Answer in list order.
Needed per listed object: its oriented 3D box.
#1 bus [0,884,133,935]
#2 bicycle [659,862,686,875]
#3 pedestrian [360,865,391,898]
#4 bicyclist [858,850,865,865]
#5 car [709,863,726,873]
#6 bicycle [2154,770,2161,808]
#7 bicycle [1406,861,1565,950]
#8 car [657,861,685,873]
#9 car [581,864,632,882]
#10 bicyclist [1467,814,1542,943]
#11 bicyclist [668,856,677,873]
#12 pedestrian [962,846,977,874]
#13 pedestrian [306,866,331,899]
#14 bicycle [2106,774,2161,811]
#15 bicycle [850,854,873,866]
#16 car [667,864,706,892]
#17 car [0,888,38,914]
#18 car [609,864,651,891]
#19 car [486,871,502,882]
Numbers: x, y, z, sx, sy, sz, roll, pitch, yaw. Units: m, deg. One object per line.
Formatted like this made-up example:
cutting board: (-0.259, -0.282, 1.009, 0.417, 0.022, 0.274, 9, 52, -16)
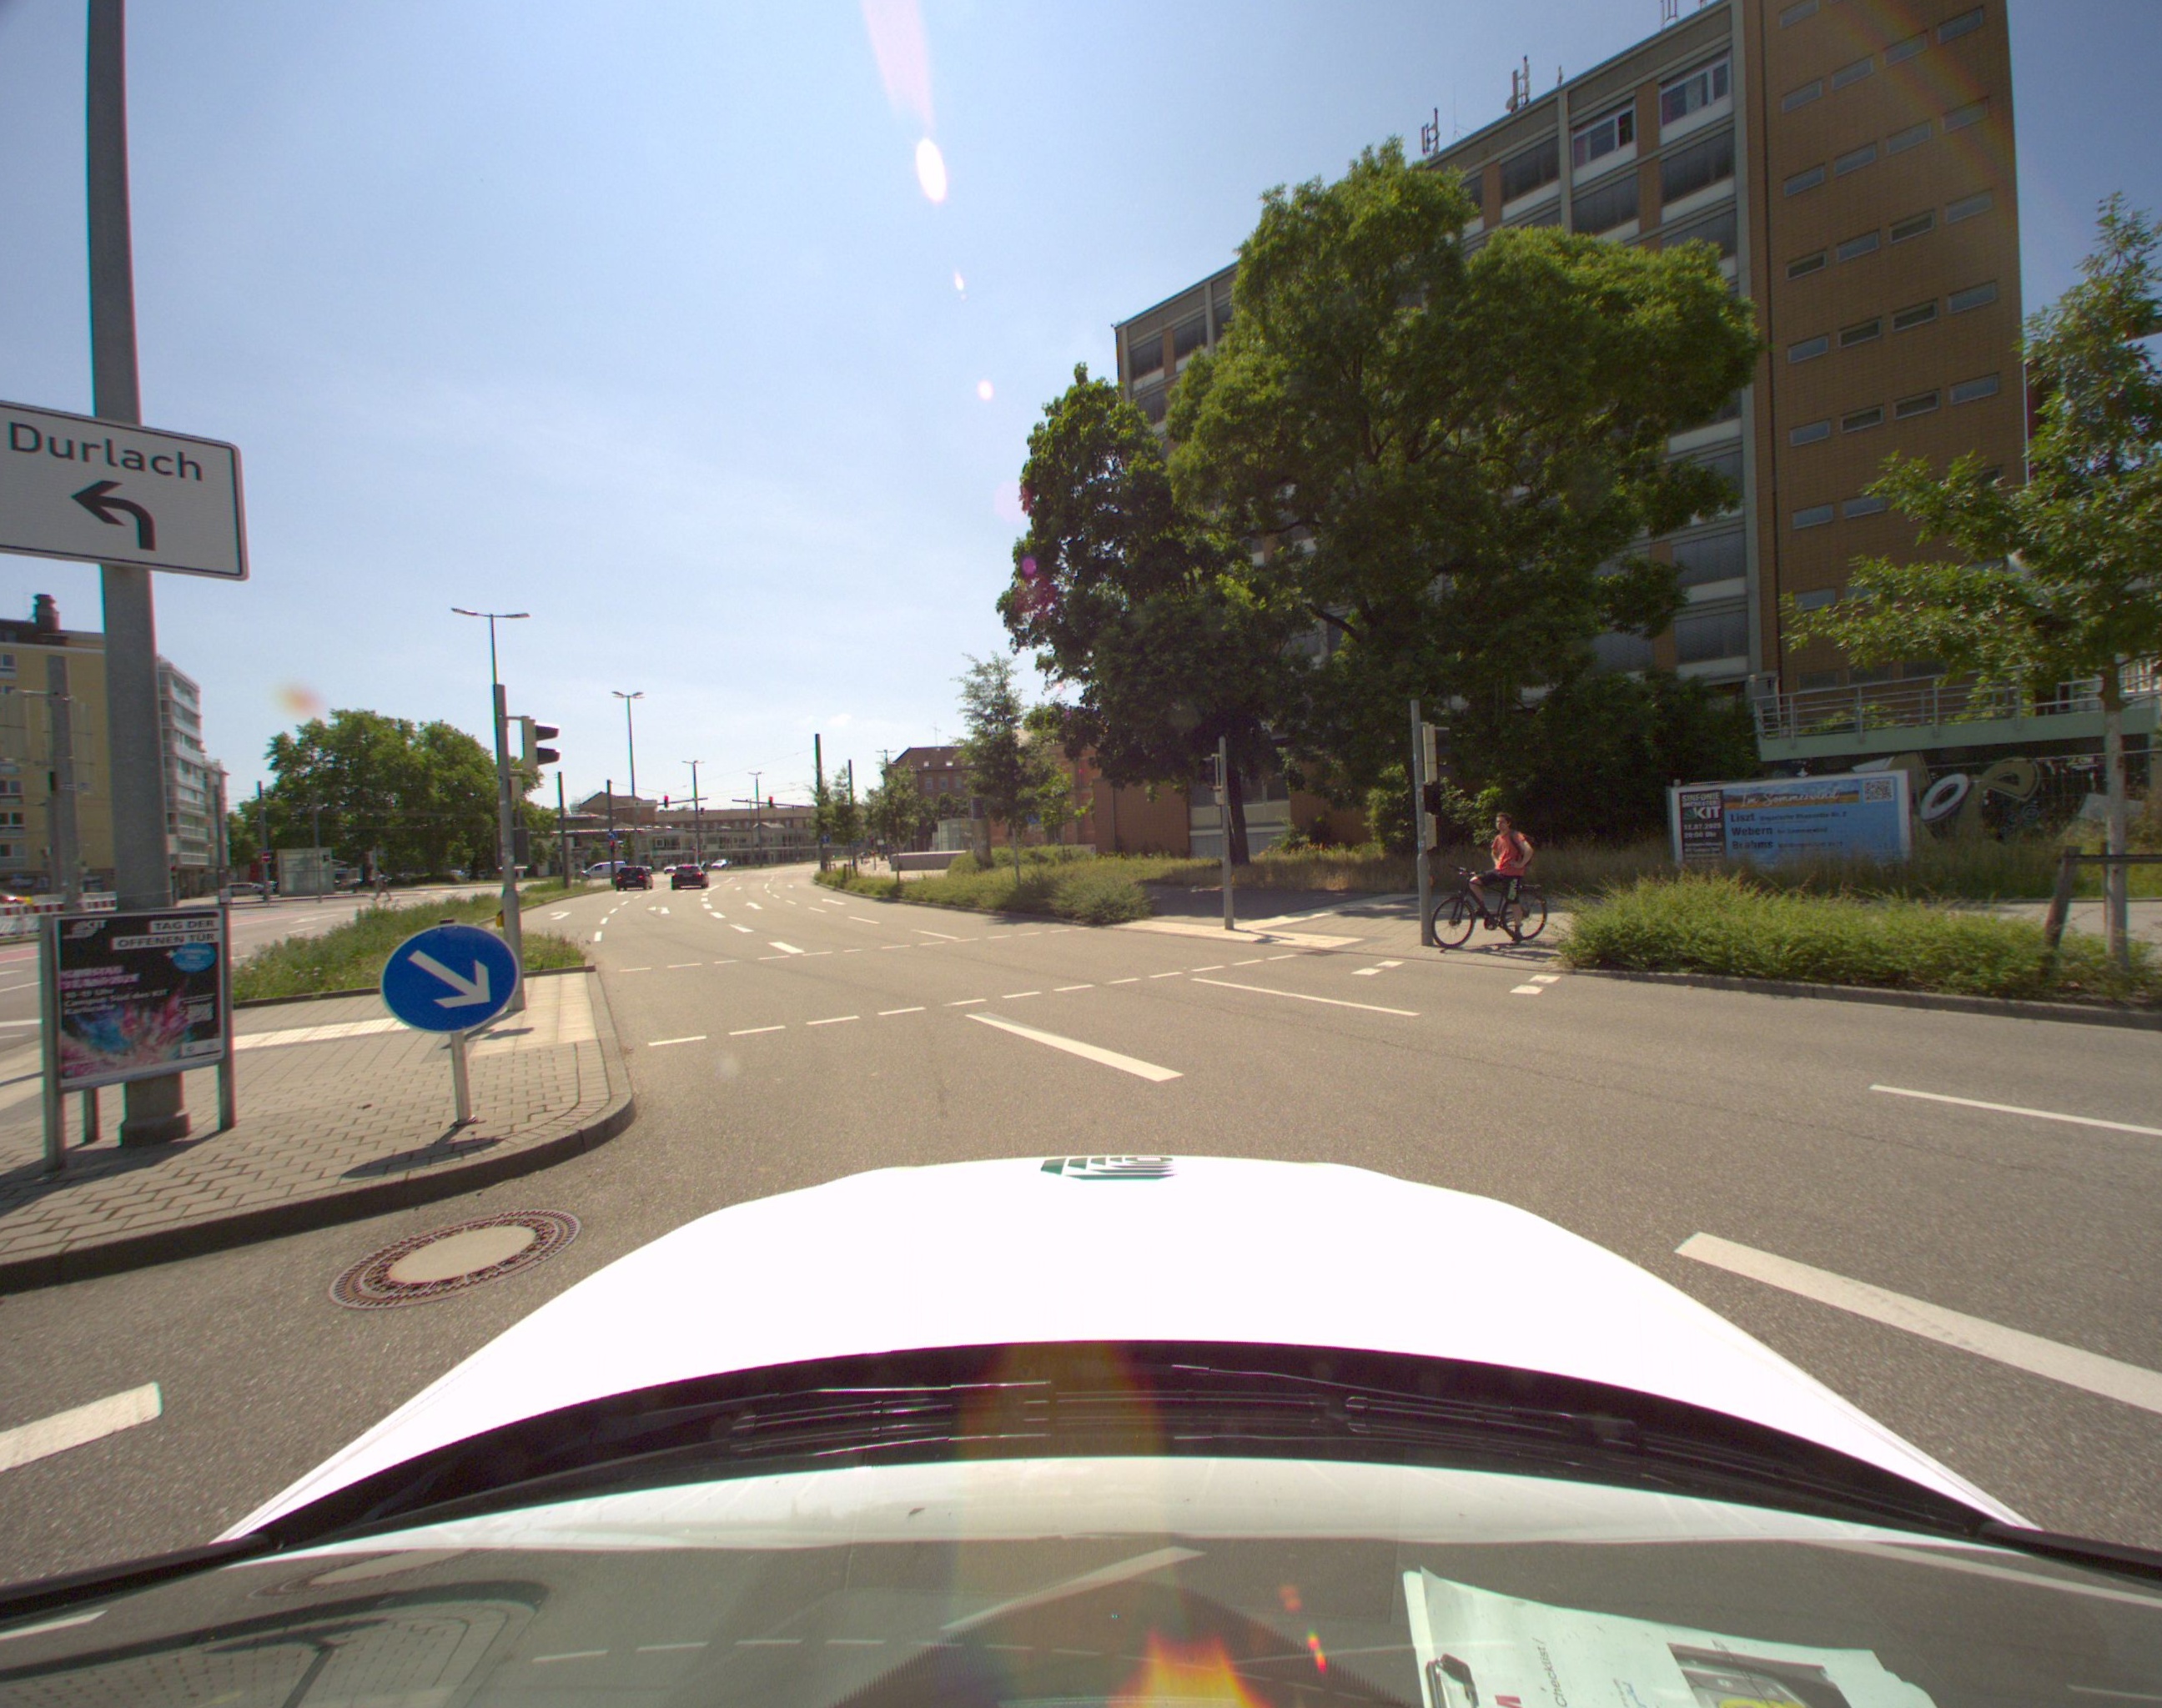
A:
bus: (-35.414, 1.856, 28.229, 1.251, 1.249, 5.768, -2, 2, -28)
bicycle: (-48.606, 1.728, 96.886, 2.791, 1.385, 0.664, -2, 2, -29)
pedestrian: (-43.685, 1.718, 50.417, 1.186, 1.933, 0.894, -2, 2, -28)
bicyclist: (-28.994, 0.480, 107.793, 0.766, 1.937, 0.655, -2, 2, -23)
car: (-54.911, 2.041, 123.029, 1.431, 1.285, 3.252, -2, 2, -8)
bicycle: (57.850, -3.391, 41.675, 3.415, 2.013, 0.765, 1, 3, 42)
bicycle: (5.601, 0.690, 11.301, 1.990, 1.045, 0.557, -4, 2, -9)
car: (-53.663, 1.736, 106.670, 1.616, 1.390, 4.119, -3, 1, -4)
car: (-50.076, 1.949, 86.035, 4.344, 1.626, 1.793, -3, 3, -41)
bicyclist: (5.885, 0.319, 11.324, 0.700, 1.715, 0.550, -3, 2, -9)
bicyclist: (-48.559, 1.251, 96.871, 0.851, 1.965, 0.621, -2, 2, -29)
pedestrian: (-6.966, 0.393, 50.742, 0.734, 1.706, 0.805, -2, 1, -20)
pedestrian: (-70.303, 2.580, 75.074, 1.220, 2.937, 1.326, -2, 2, -24)
bicycle: (60.123, -3.444, 45.532, 3.415, 2.013, 0.765, 1, 3, 42)
bicycle: (-29.055, 0.837, 107.805, 2.838, 1.463, 0.629, -2, 2, -23)
car: (-24.015, 1.416, 49.731, 1.723, 1.556, 4.554, -3, 1, -21)
car: (-74.588, 3.297, 55.055, 4.659, 1.613, 1.658, -3, 3, -36)
car: (-27.383, 1.387, 49.588, 1.627, 1.463, 3.972, -2, 0, -21)
car: (-93.689, 3.612, 130.059, 1.518, 1.418, 3.391, -2, 3, -27)
